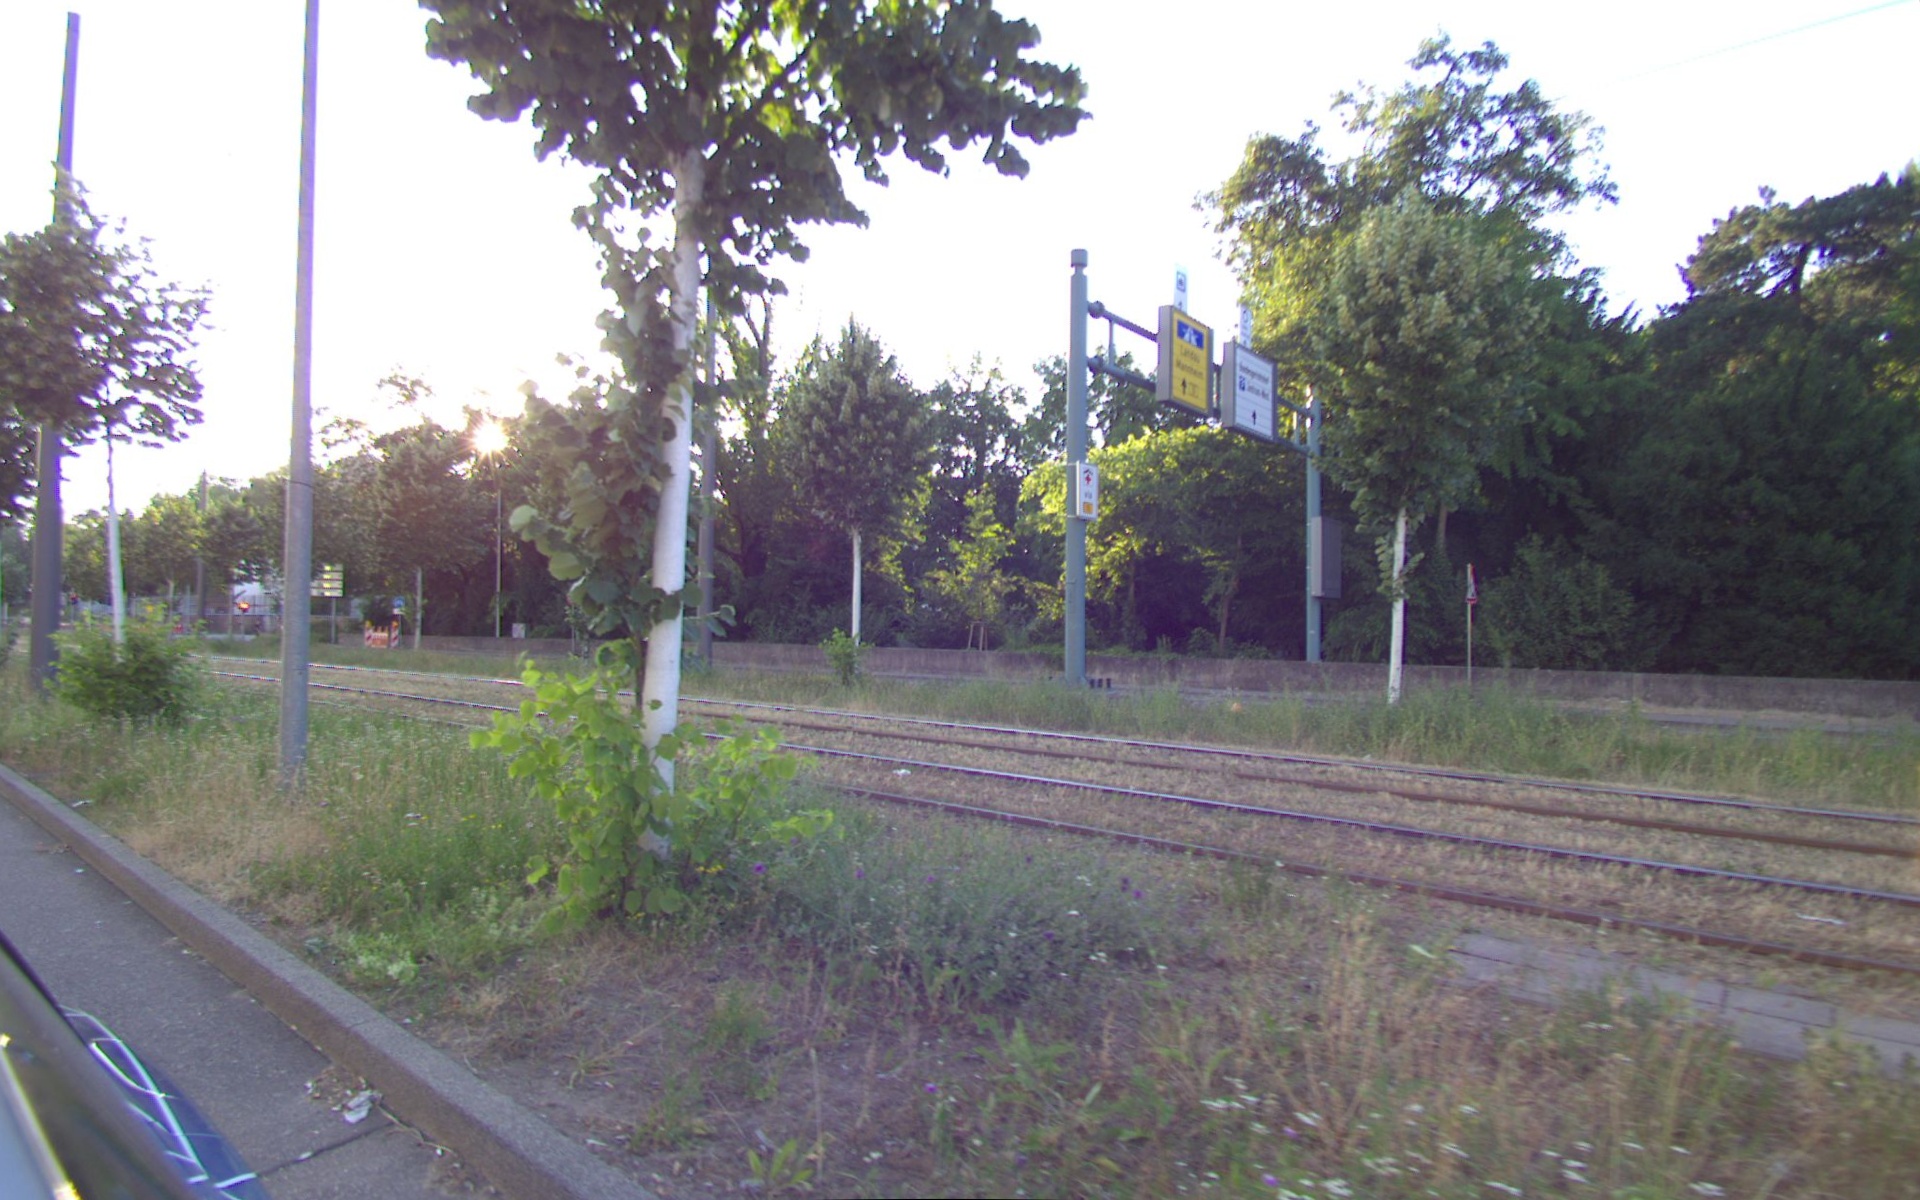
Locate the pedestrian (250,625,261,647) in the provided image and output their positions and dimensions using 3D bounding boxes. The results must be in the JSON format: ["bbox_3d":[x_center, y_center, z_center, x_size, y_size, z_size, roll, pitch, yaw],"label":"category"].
[{"bbox_3d":[-54.241,2.780,77.868,0.660,1.620,0.679,-1,-5,-37],"label":"pedestrian"}]
